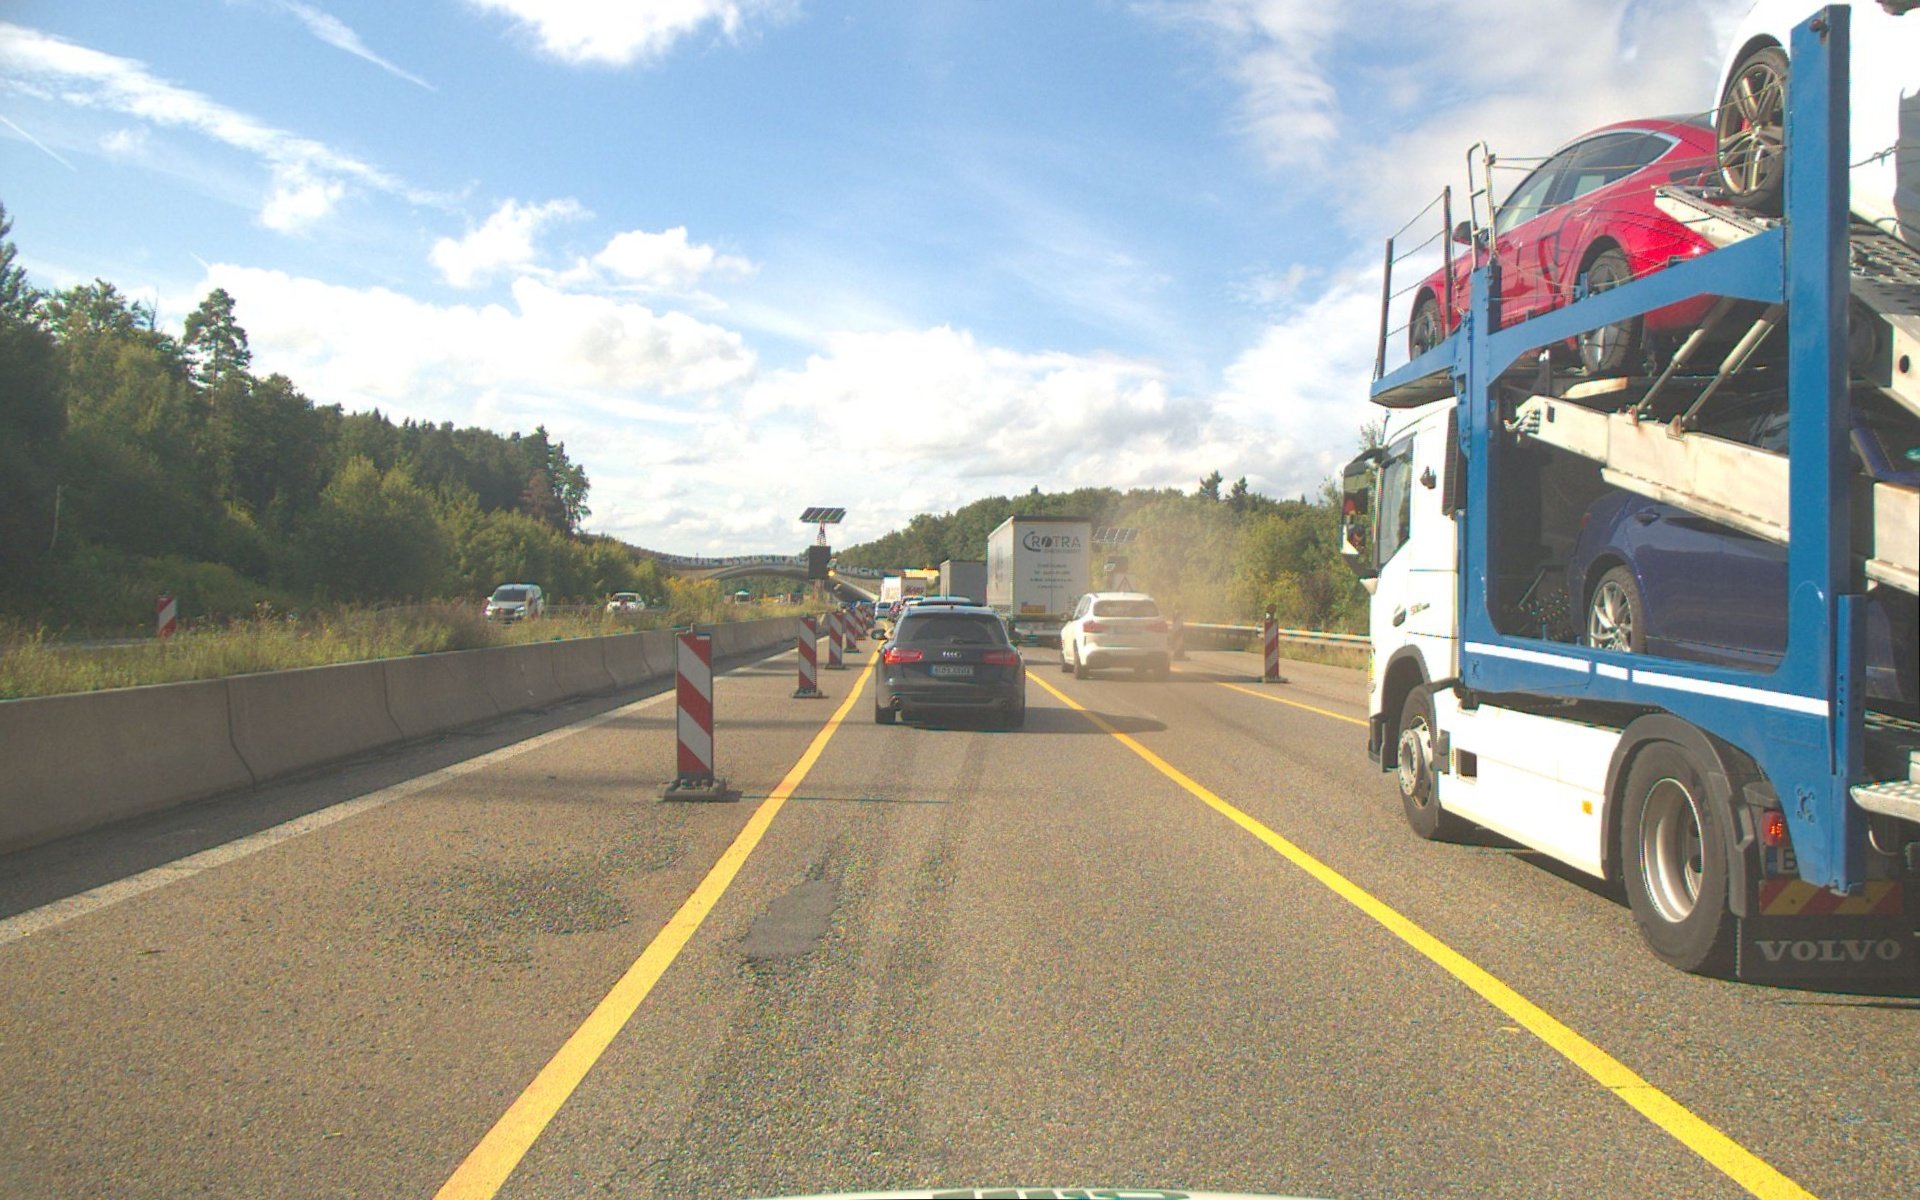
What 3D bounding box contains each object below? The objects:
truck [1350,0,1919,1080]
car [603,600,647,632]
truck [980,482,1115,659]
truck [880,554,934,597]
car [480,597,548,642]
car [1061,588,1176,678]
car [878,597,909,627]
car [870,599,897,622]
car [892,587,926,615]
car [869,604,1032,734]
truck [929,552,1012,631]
[{"bbox_3d":[4.736,-0.630,7.941,3.685,4.270,7.949,1,0,-1],"label":"truck"},{"bbox_3d":[-19.560,0.930,96.771,1.742,1.817,4.364,1,0,-1],"label":"car"},{"bbox_3d":[2.820,-0.884,59.684,3.603,5.447,16.196,1,0,-1],"label":"truck"},{"bbox_3d":[-5.294,-2.308,163.458,3.589,3.997,11.037,1,0,-11],"label":"truck"},{"bbox_3d":[-18.997,0.819,70.568,1.742,1.817,4.364,1,0,-1],"label":"car"},{"bbox_3d":[3.121,0.642,33.319,1.852,1.672,4.017,1,0,-1],"label":"car"},{"bbox_3d":[-4.790,0.837,118.636,1.955,2.049,3.995,1,0,-6],"label":"car"},{"bbox_3d":[-6.881,0.955,148.323,1.956,2.049,3.992,1,0,-8],"label":"car"},{"bbox_3d":[-3.132,0.063,100.451,1.853,1.672,4.014,1,0,-4],"label":"car"},{"bbox_3d":[-0.142,0.805,21.020,1.852,1.472,3.999,1,0,-1],"label":"car"},{"bbox_3d":[0.531,-0.484,105.559,4.235,4.681,11.112,1,0,-5],"label":"truck"}]
